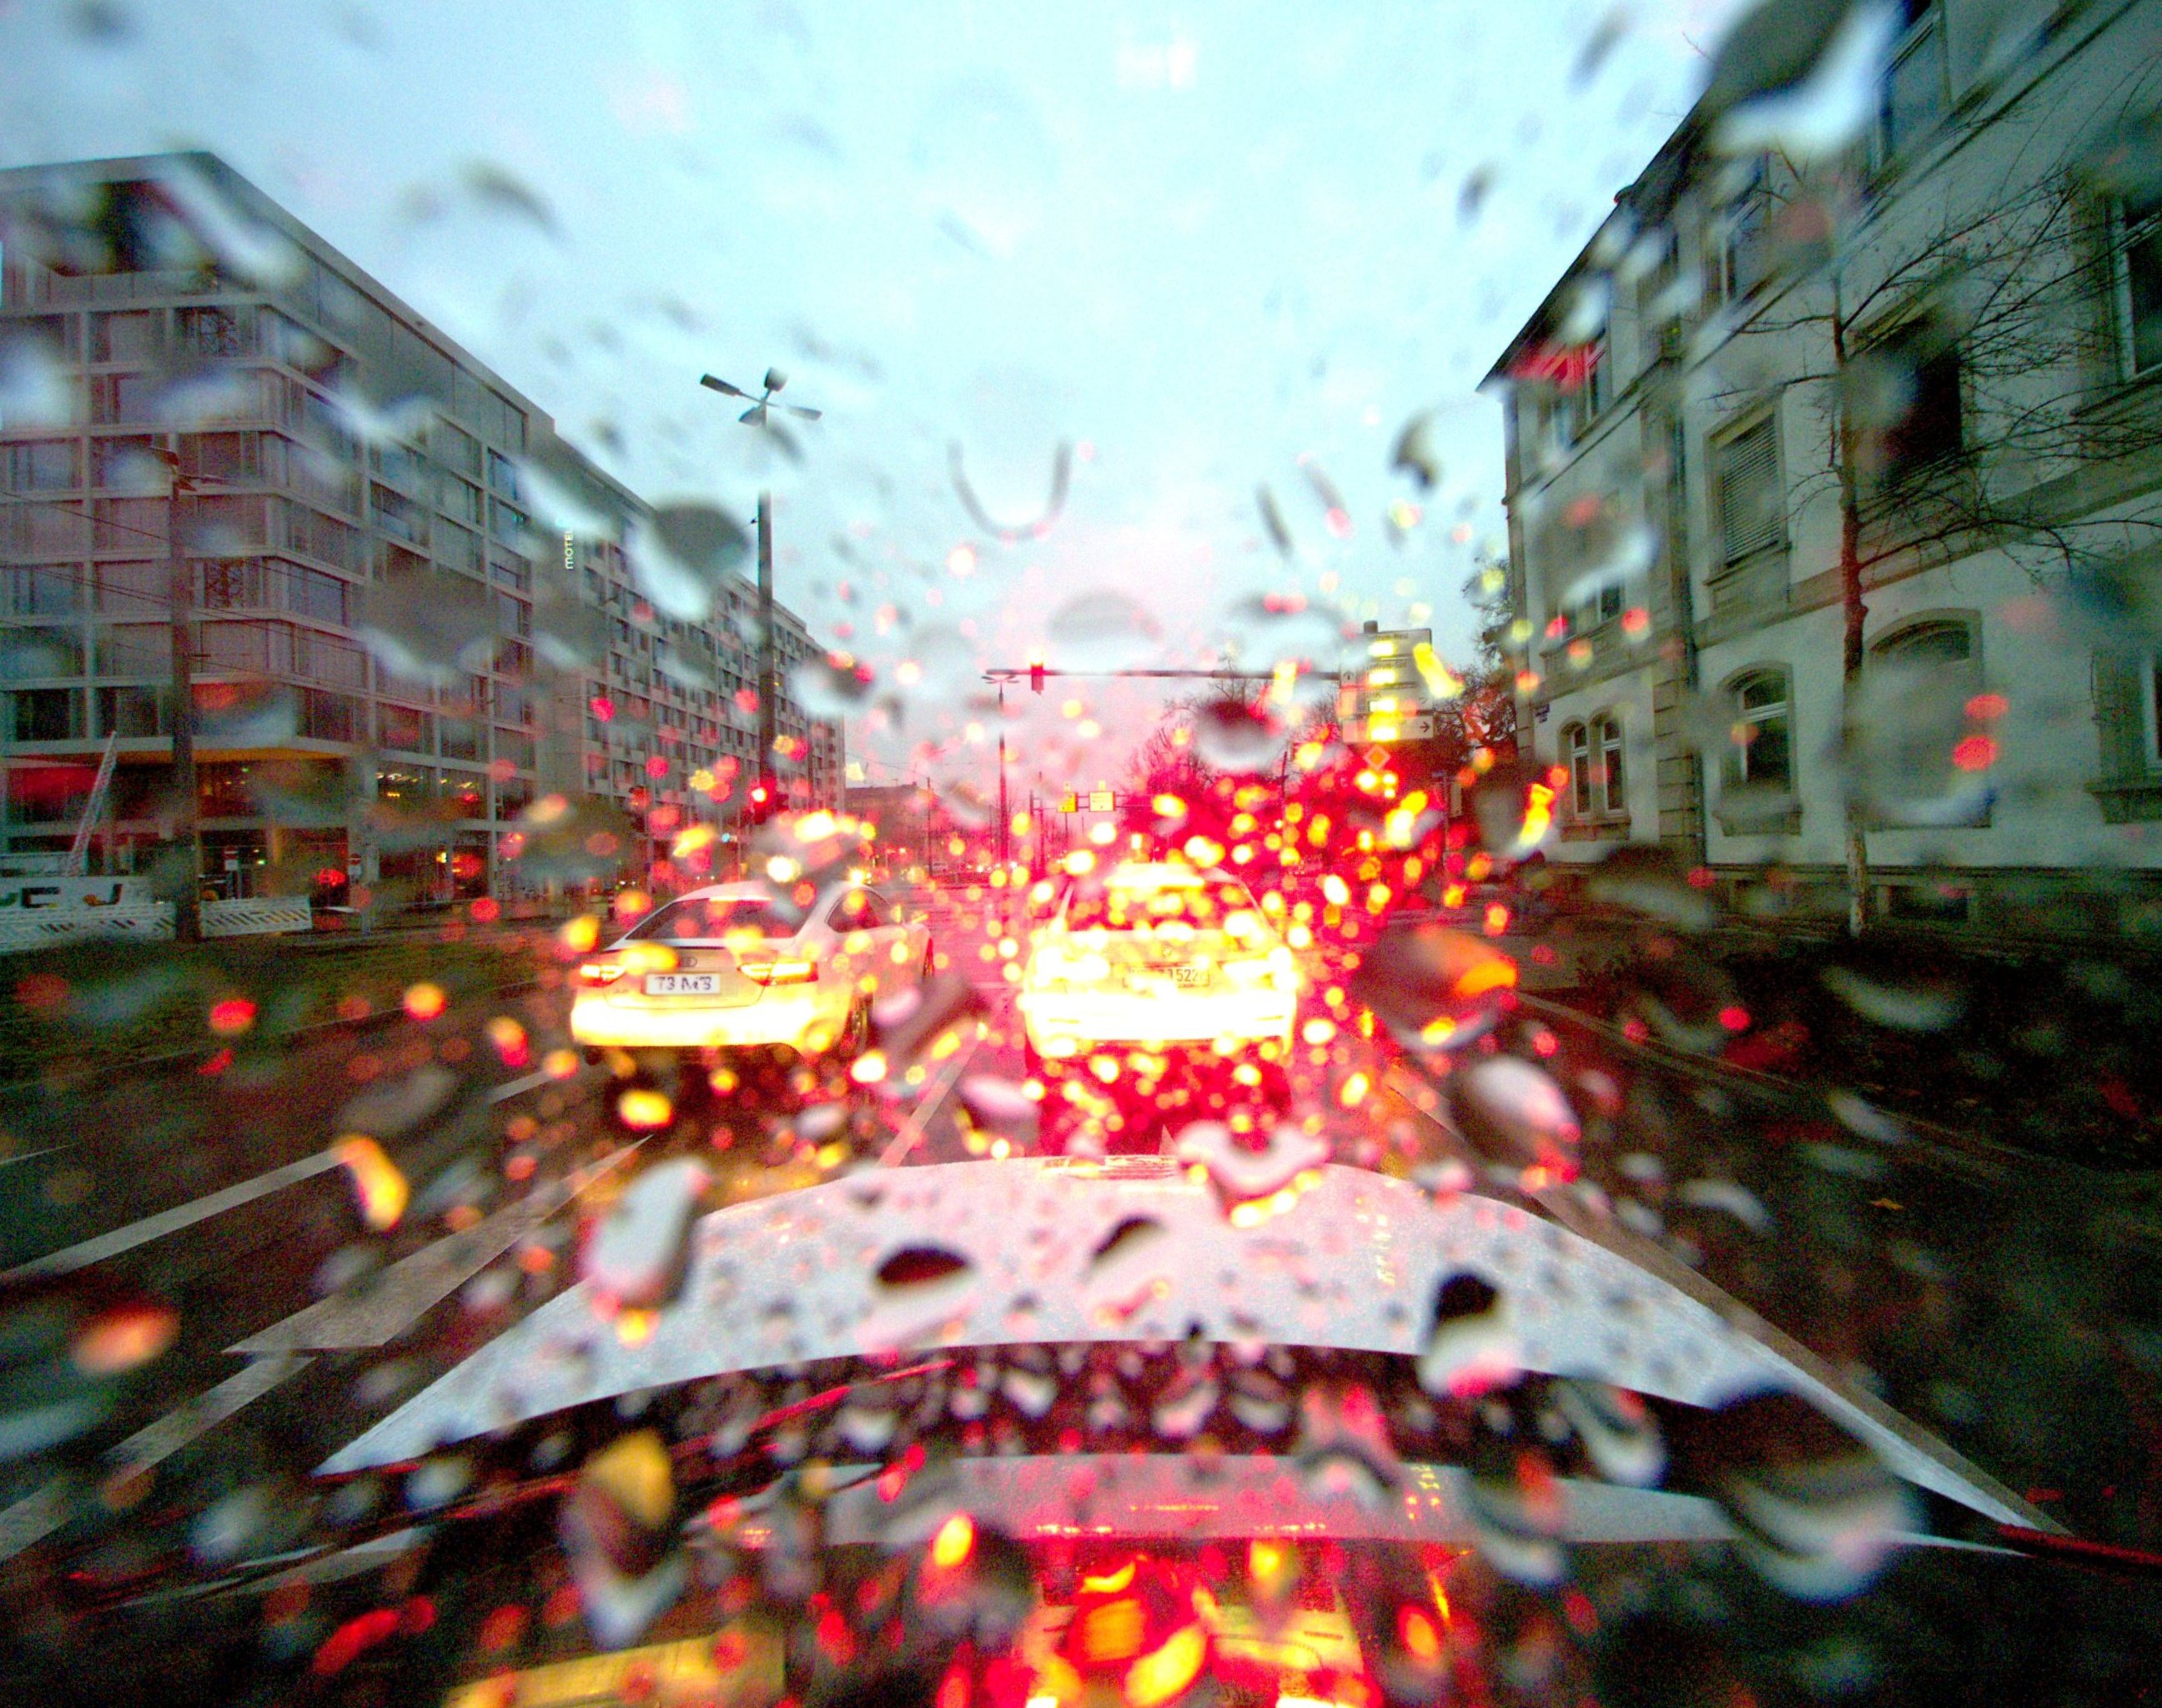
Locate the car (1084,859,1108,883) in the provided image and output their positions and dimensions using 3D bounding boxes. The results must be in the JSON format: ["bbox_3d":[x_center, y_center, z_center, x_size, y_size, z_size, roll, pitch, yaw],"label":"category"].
[{"bbox_3d":[1.342,1.438,69.740,1.986,2.014,4.001,0,-1,2],"label":"car"}]

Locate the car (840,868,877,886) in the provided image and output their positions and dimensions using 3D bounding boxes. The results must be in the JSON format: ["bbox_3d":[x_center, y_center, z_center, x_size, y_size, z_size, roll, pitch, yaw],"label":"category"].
[{"bbox_3d":[-19.939,2.025,73.269,1.988,1.462,5.092,0,-1,-1],"label":"car"}]

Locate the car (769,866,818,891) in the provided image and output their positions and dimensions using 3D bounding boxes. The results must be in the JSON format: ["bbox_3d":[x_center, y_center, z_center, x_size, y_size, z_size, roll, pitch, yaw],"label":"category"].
[{"bbox_3d":[-21.699,1.820,61.672,1.873,1.789,4.602,0,-1,3],"label":"car"}]

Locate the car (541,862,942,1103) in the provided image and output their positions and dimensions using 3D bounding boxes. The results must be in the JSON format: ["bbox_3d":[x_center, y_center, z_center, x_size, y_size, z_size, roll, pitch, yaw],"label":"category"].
[{"bbox_3d":[-2.461,0.812,7.172,1.754,1.470,4.250,0,-1,0],"label":"car"}]

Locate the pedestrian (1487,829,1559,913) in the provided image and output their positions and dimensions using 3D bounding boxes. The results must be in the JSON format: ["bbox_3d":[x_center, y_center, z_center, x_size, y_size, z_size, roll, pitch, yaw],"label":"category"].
[{"bbox_3d":[8.893,0.339,16.418,0.782,1.632,1.006,0,-1,-14],"label":"pedestrian"}]

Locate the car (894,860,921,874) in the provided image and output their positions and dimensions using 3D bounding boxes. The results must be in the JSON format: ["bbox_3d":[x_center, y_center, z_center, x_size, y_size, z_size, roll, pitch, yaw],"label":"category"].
[{"bbox_3d":[-18.487,1.386,87.119,1.988,1.462,5.090,0,-1,-2],"label":"car"}]

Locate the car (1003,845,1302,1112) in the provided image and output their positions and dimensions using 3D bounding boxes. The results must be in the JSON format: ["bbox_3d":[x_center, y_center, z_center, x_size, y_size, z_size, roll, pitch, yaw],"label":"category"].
[{"bbox_3d":[0.416,0.747,6.931,1.754,1.552,4.250,0,-1,0],"label":"car"}]

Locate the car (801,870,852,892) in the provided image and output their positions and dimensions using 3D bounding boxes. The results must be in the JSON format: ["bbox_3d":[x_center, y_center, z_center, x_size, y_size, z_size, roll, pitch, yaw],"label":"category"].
[{"bbox_3d":[-18.671,1.945,59.934,1.986,1.462,5.097,0,-1,2],"label":"car"}]

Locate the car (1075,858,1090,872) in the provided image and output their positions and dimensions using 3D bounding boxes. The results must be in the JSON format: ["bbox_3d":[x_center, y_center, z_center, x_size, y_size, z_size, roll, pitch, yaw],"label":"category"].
[{"bbox_3d":[0.254,1.518,113.193,1.986,2.014,4.001,0,-1,2],"label":"car"}]

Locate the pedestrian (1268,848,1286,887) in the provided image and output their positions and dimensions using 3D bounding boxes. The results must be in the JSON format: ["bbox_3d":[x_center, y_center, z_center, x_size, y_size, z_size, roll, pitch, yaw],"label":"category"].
[{"bbox_3d":[9.565,0.673,39.796,0.671,1.879,0.715,0,-1,-1],"label":"pedestrian"}]

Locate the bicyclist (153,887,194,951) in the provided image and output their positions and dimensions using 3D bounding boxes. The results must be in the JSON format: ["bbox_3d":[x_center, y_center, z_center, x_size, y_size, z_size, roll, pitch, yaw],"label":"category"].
[{"bbox_3d":[-42.091,2.971,37.772,1.335,2.828,1.200,-1,-1,40],"label":"bicyclist"}]

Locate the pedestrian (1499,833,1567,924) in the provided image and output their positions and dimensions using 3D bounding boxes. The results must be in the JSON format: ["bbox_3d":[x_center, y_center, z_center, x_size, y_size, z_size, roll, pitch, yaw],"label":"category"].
[{"bbox_3d":[8.166,0.437,14.753,0.777,1.579,1.014,-1,-1,9],"label":"pedestrian"}]

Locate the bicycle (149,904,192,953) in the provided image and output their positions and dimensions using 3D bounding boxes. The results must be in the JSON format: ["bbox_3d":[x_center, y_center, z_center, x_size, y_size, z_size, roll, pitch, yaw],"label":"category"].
[{"bbox_3d":[-42.134,3.388,37.648,3.949,2.014,1.200,-1,-1,40],"label":"bicycle"}]

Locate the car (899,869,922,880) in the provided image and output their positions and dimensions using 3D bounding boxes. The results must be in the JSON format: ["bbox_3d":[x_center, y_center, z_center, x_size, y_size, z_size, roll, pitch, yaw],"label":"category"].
[{"bbox_3d":[-22.824,2.734,108.930,1.987,1.462,5.094,0,-1,0],"label":"car"}]

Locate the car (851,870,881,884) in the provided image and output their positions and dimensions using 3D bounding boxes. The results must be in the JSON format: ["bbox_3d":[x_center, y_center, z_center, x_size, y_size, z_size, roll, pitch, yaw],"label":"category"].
[{"bbox_3d":[-23.978,2.595,91.153,1.987,1.462,5.094,0,-1,0],"label":"car"}]
